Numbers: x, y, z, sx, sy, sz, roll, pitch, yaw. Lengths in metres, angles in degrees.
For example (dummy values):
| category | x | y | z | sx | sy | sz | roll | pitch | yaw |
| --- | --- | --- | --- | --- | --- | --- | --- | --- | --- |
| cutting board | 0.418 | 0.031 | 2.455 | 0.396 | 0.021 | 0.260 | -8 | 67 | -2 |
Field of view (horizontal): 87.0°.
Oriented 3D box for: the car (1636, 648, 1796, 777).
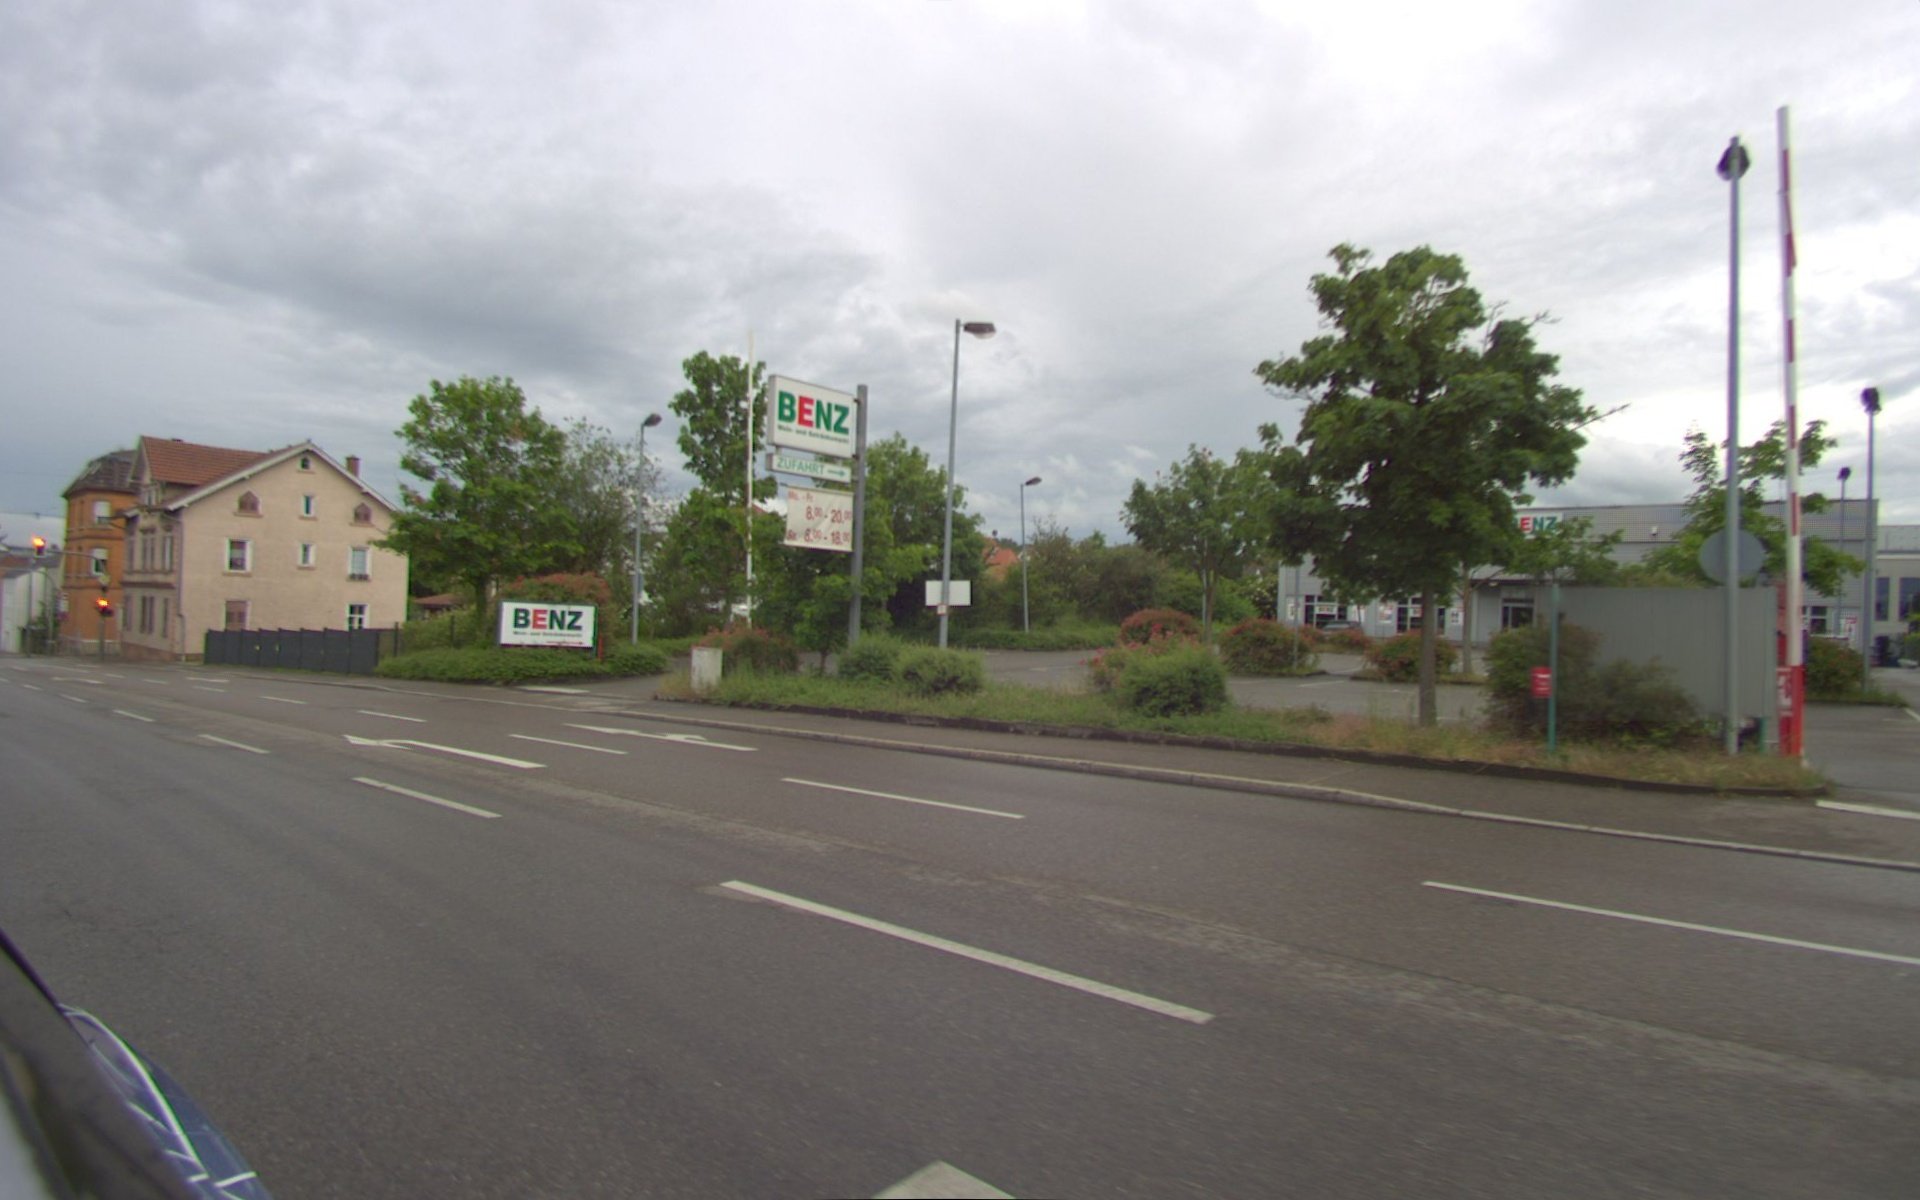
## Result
| category | x | y | z | sx | sy | sz | roll | pitch | yaw |
| --- | --- | --- | --- | --- | --- | --- | --- | --- | --- |
| car | 10.635 | 1.458 | 14.155 | 1.543 | 1.475 | 3.451 | -1 | -2 | 41 |
